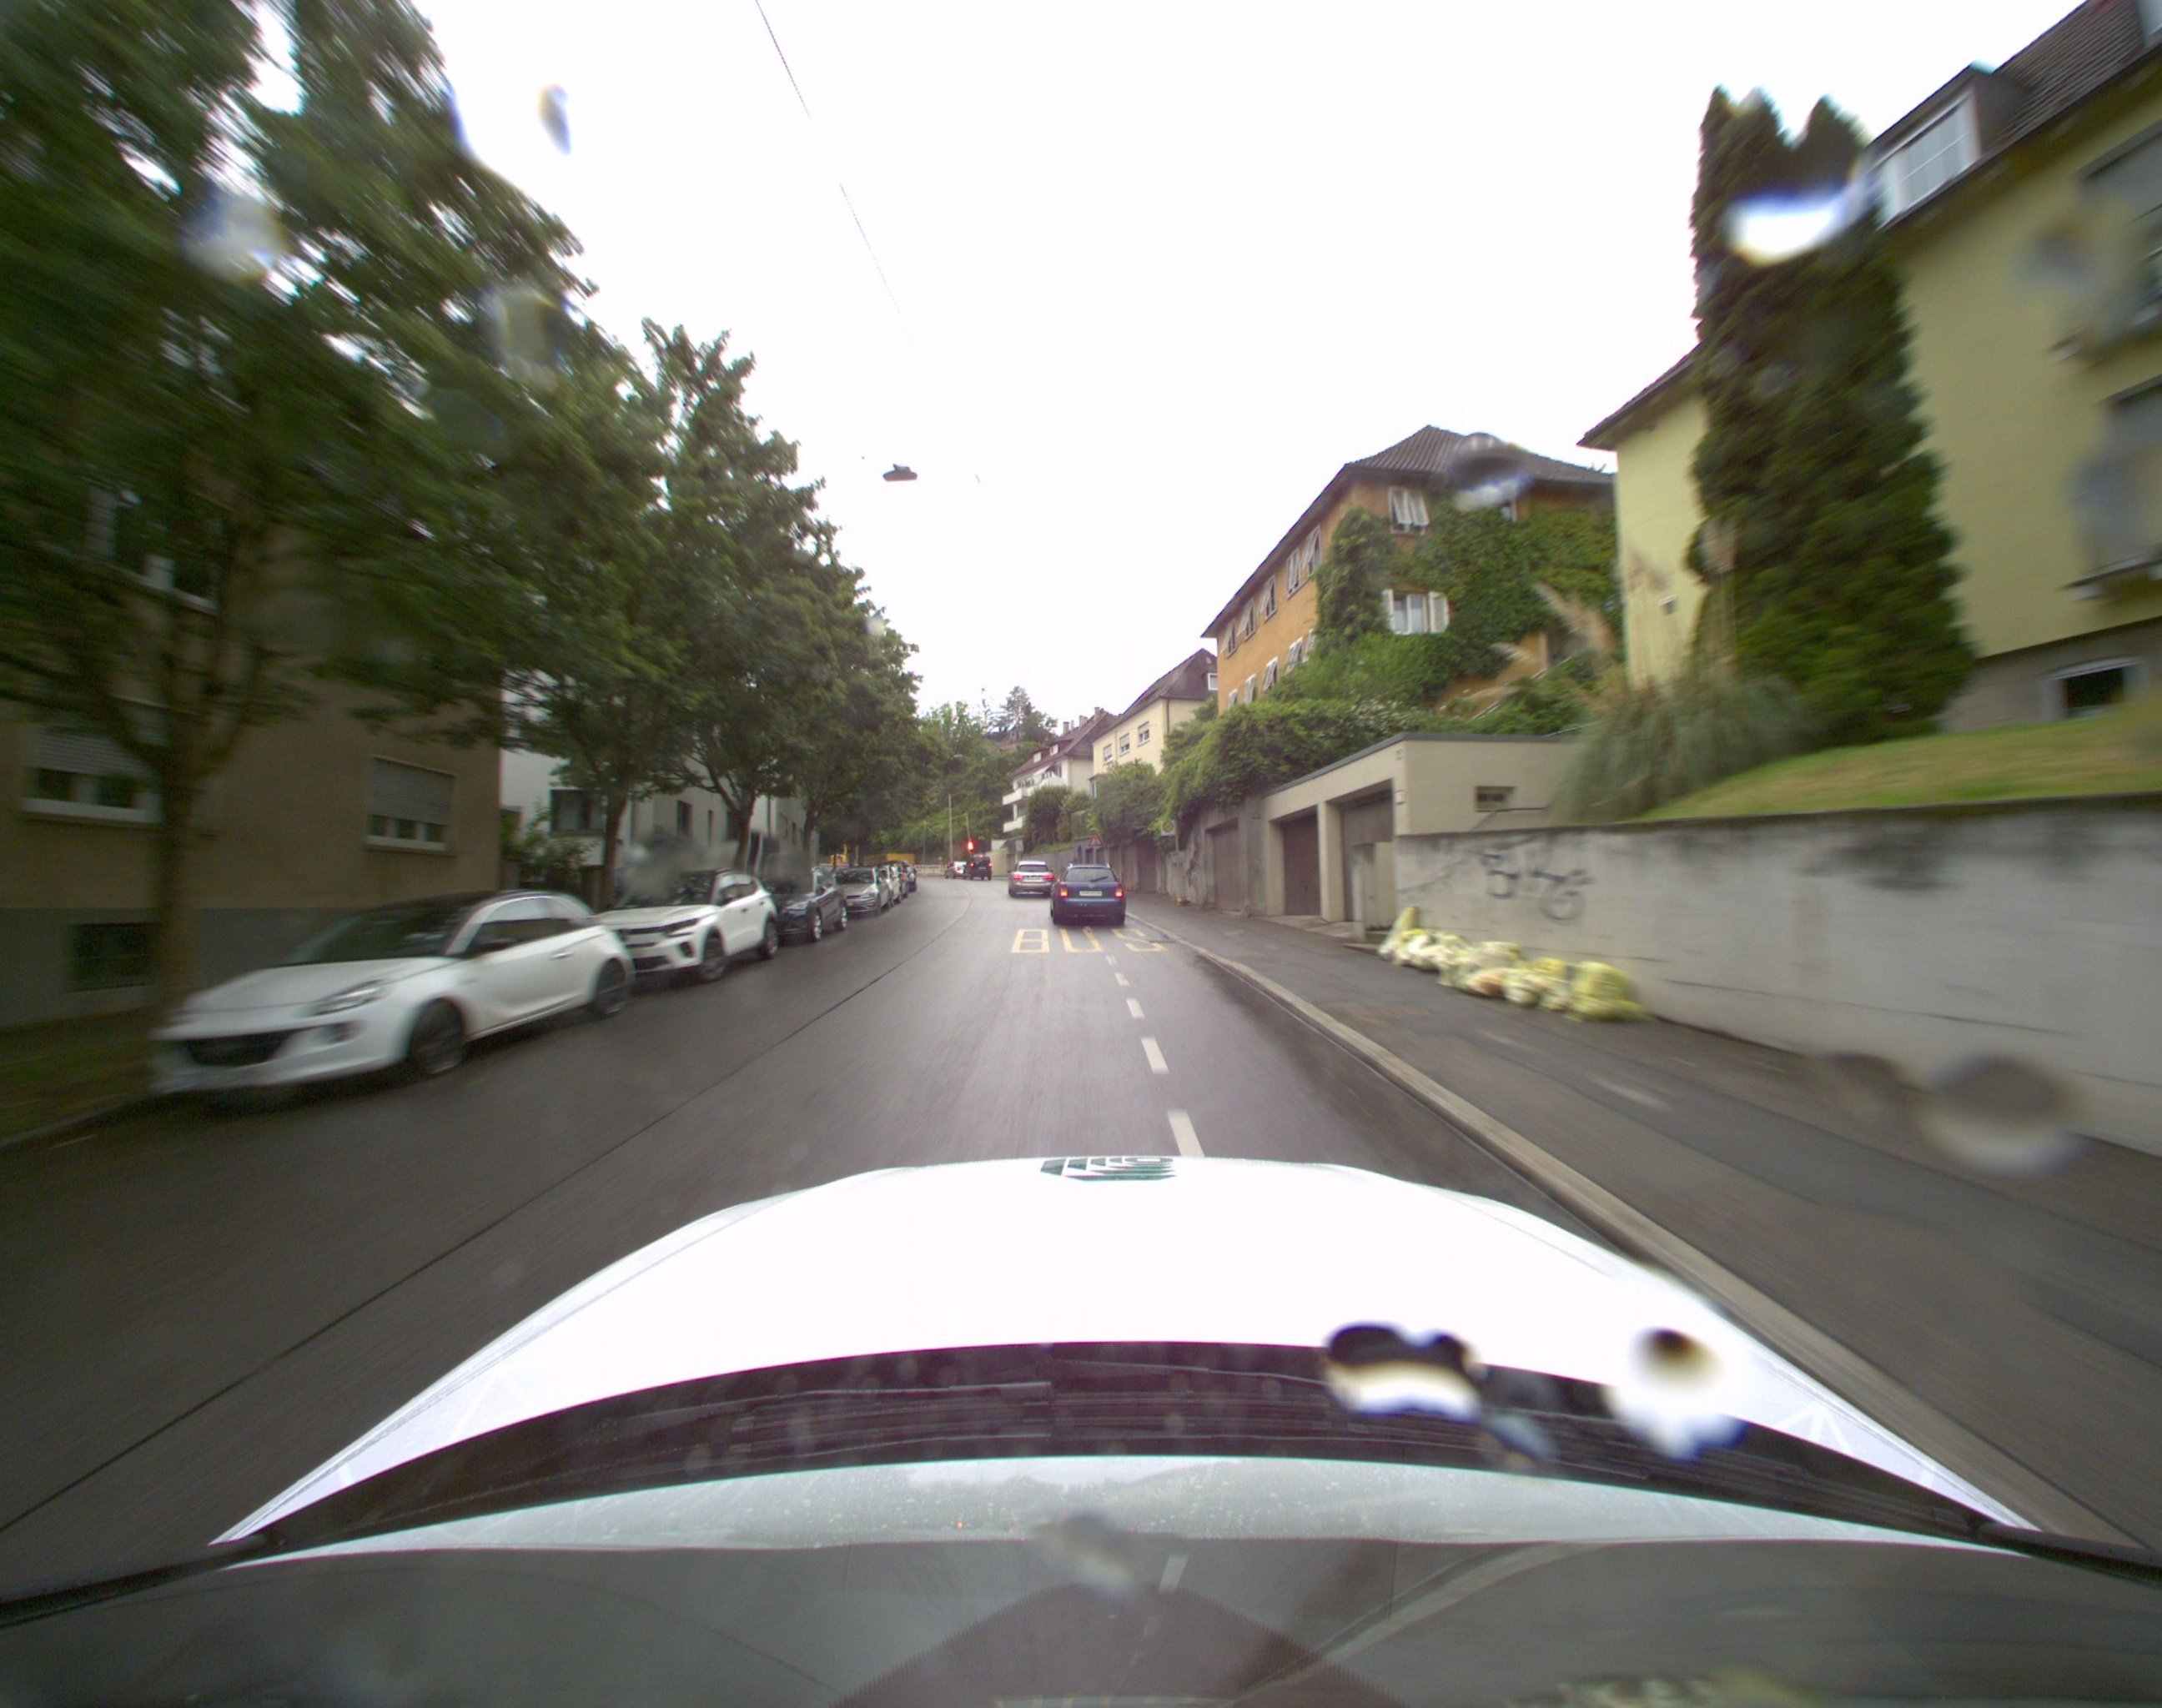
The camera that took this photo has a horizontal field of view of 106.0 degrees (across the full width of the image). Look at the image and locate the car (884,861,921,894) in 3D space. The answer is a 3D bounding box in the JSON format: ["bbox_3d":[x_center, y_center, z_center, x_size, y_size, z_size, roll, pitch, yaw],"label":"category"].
[{"bbox_3d":[-9.310,1.204,42.728,1.555,1.488,4.084,-5,0,-10],"label":"car"}]

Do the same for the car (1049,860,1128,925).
[{"bbox_3d":[0.137,0.887,20.639,1.780,1.442,3.962,-1,0,-1],"label":"car"}]

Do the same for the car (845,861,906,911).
[{"bbox_3d":[-7.254,1.093,29.072,1.573,1.488,3.461,-5,1,-7],"label":"car"}]

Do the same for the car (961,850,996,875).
[{"bbox_3d":[-7.833,0.656,61.941,1.998,1.794,3.977,-2,0,-17],"label":"car"}]

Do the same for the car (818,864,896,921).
[{"bbox_3d":[-6.825,1.135,25.192,1.616,1.470,3.963,-5,-1,-7],"label":"car"}]

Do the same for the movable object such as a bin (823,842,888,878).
[{"bbox_3d":[-25.884,0.684,93.463,7.233,4.014,2.846,-1,0,29],"label":"movable object such as a bin"}]

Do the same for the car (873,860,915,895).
[{"bbox_3d":[-8.902,1.116,38.991,1.555,1.510,3.373,-4,-1,-8],"label":"car"}]

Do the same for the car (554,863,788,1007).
[{"bbox_3d":[-5.943,1.051,12.384,1.589,1.658,3.918,-7,0,-4],"label":"car"}]

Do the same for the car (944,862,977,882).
[{"bbox_3d":[-10.005,1.459,67.372,1.728,1.486,4.045,-2,0,-22],"label":"car"}]

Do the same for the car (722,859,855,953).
[{"bbox_3d":[-6.198,1.023,17.698,1.615,1.658,3.916,-6,0,-5],"label":"car"}]

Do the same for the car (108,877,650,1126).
[{"bbox_3d":[-5.917,1.091,7.564,1.612,1.471,3.670,-7,0,2],"label":"car"}]

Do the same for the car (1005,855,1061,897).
[{"bbox_3d":[-2.107,0.876,34.346,1.926,1.618,4.307,-1,0,-9],"label":"car"}]

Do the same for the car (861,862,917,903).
[{"bbox_3d":[-8.020,1.160,34.298,1.662,1.488,4.464,-5,0,-7],"label":"car"}]
